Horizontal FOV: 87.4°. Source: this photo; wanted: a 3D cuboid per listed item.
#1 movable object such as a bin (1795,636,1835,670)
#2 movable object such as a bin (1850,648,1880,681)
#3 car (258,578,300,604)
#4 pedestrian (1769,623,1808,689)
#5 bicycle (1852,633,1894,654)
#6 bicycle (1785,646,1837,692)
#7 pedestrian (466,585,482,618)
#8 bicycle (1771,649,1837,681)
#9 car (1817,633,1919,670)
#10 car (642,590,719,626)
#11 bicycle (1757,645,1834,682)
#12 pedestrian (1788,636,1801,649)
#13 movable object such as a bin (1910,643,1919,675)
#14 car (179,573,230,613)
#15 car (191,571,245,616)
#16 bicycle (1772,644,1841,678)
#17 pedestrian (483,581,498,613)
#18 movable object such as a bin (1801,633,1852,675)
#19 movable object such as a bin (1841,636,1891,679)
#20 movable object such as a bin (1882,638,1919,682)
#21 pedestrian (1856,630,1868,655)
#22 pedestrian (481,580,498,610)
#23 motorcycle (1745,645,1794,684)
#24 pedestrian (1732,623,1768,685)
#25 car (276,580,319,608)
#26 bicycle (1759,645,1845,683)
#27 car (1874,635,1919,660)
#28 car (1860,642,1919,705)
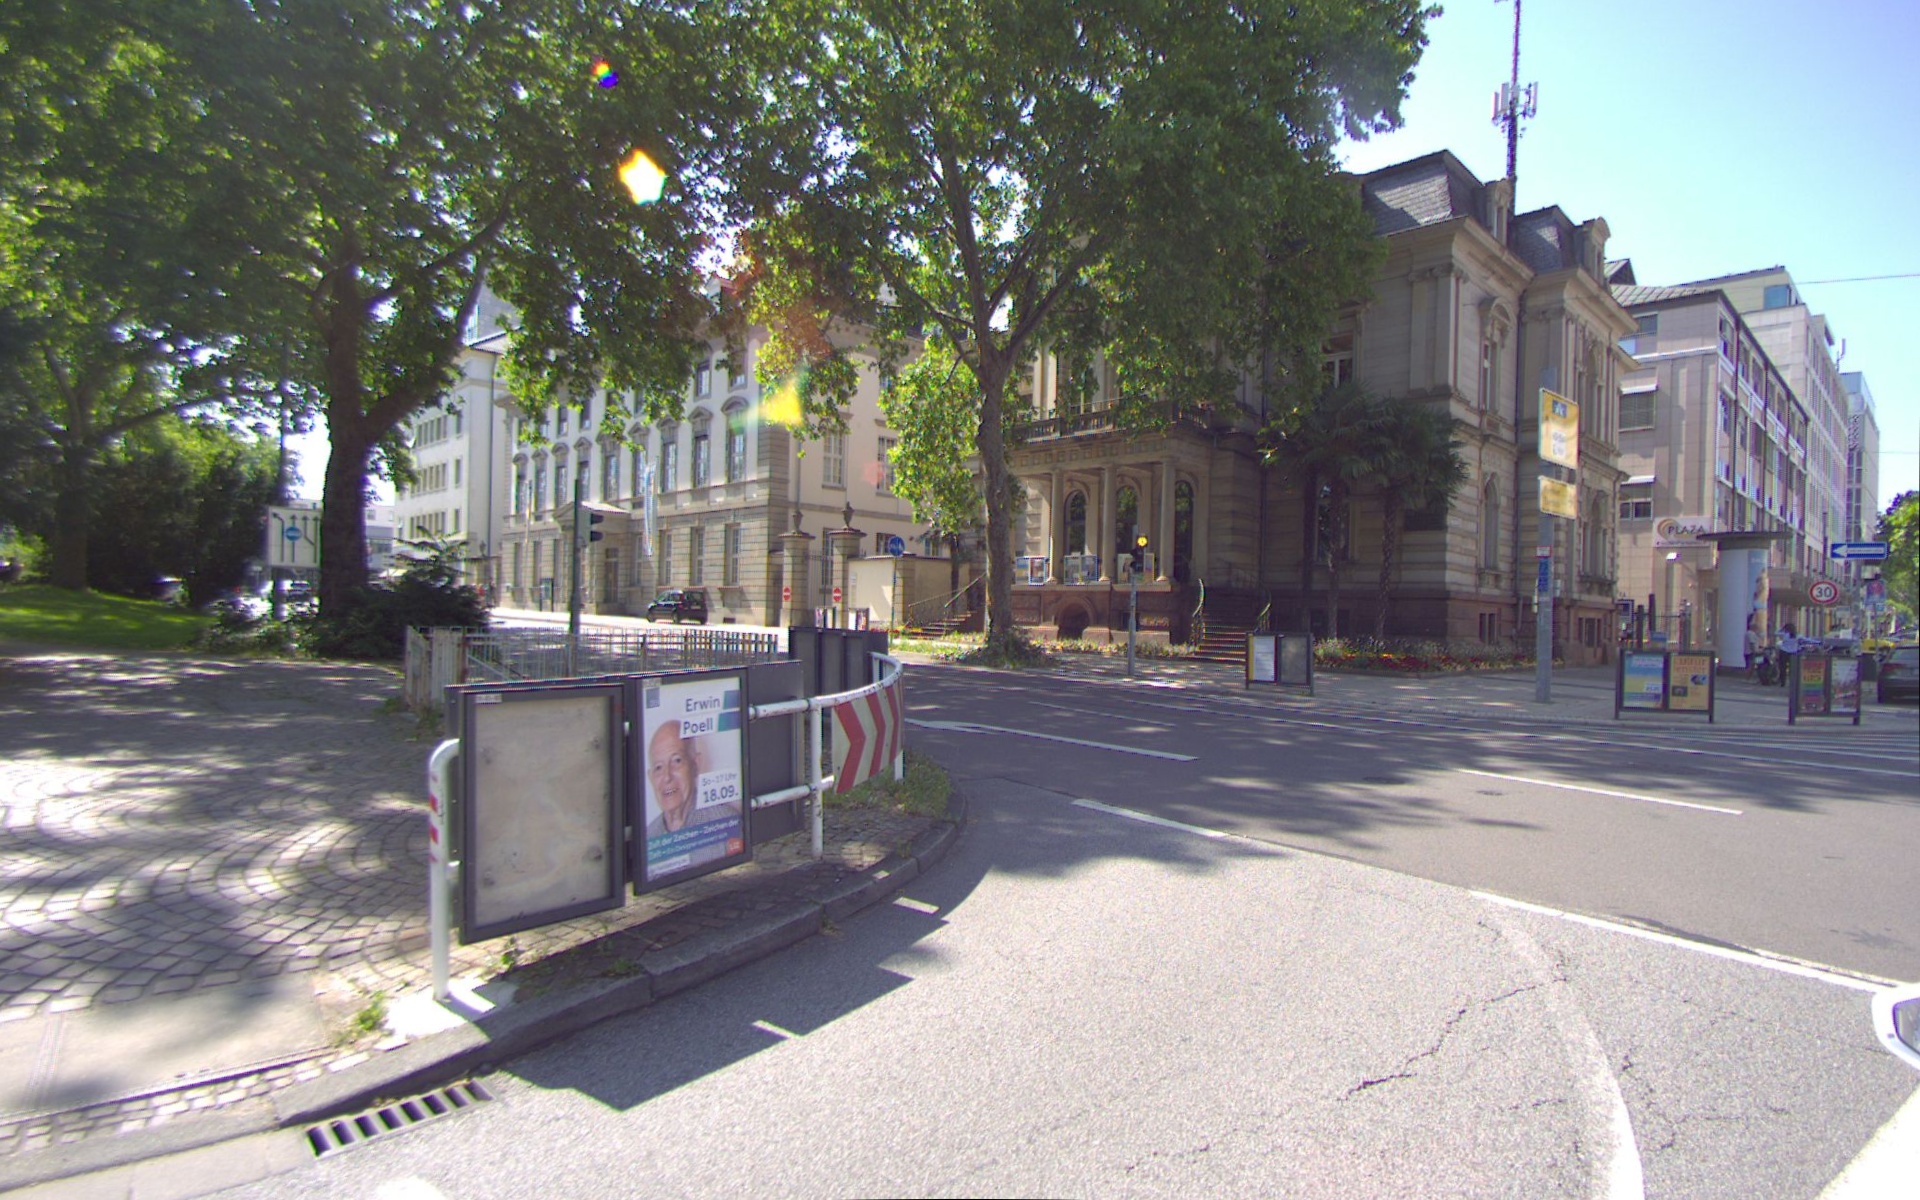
[{"bbox_3d":[36.768,2.259,43.191,1.120,1.317,1.196,0,2,-44],"label":"movable object such as a bin"},{"bbox_3d":[32.531,2.306,36.121,0.713,1.113,0.654,3,2,38],"label":"movable object such as a bin"},{"bbox_3d":[-47.596,-0.651,70.142,1.921,1.721,4.009,2,-1,-41],"label":"car"},{"bbox_3d":[22.088,1.488,26.784,0.686,1.717,0.688,4,-2,-42],"label":"pedestrian"},{"bbox_3d":[63.316,3.023,69.674,2.039,1.305,0.366,4,1,39],"label":"bicycle"},{"bbox_3d":[22.515,1.841,26.553,2.220,1.135,0.426,4,0,-34],"label":"bicycle"},{"bbox_3d":[-30.879,0.082,63.864,0.690,2.040,0.827,3,-2,-36],"label":"pedestrian"},{"bbox_3d":[30.954,2.383,36.849,1.823,1.087,0.554,-1,-4,43],"label":"bicycle"},{"bbox_3d":[43.947,2.440,48.301,1.898,1.514,4.056,1,0,-3],"label":"car"},{"bbox_3d":[-12.951,0.343,46.407,1.921,1.514,4.008,1,1,-41],"label":"car"},{"bbox_3d":[28.946,2.193,34.832,1.933,1.135,0.555,3,0,35],"label":"bicycle"},{"bbox_3d":[57.194,2.904,68.811,0.769,0.820,0.560,1,4,-45],"label":"pedestrian"},{"bbox_3d":[39.368,2.407,40.661,0.848,1.317,1.264,2,-1,-44],"label":"movable object such as a bin"},{"bbox_3d":[-41.587,-0.401,55.251,1.921,2.108,4.008,1,0,-41],"label":"car"},{"bbox_3d":[-38.176,-0.342,51.625,1.921,2.197,4.008,1,1,-41],"label":"car"},{"bbox_3d":[31.877,2.280,37.849,1.945,1.135,0.506,2,-1,42],"label":"bicycle"},{"bbox_3d":[-30.521,-0.183,65.311,0.690,2.040,0.827,3,-2,-36],"label":"pedestrian"},{"bbox_3d":[32.954,2.035,38.207,1.352,1.470,1.199,1,2,-39],"label":"movable object such as a bin"},{"bbox_3d":[33.572,2.125,37.221,1.426,1.470,1.114,1,2,-39],"label":"movable object such as a bin"},{"bbox_3d":[34.267,2.148,36.342,1.426,1.470,1.114,1,2,-39],"label":"movable object such as a bin"},{"bbox_3d":[62.983,2.978,70.132,0.559,1.679,0.634,2,0,38],"label":"pedestrian"},{"bbox_3d":[-28.215,-0.303,60.214,0.692,1.811,0.824,2,-1,-44],"label":"pedestrian"},{"bbox_3d":[22.159,1.768,27.489,2.139,1.011,0.450,3,0,-36],"label":"motorcycle"},{"bbox_3d":[21.876,1.489,27.823,0.928,1.687,0.545,3,-2,-36],"label":"pedestrian"},{"bbox_3d":[-42.850,-0.404,64.927,1.837,1.758,4.008,1,1,-41],"label":"car"},{"bbox_3d":[29.480,2.217,35.215,2.206,1.135,0.555,3,0,35],"label":"bicycle"},{"bbox_3d":[60.706,3.035,63.187,1.847,1.442,4.793,2,1,-4],"label":"car"},{"bbox_3d":[23.389,1.743,24.436,4.220,1.372,1.918,2,-1,-44],"label":"car"}]
